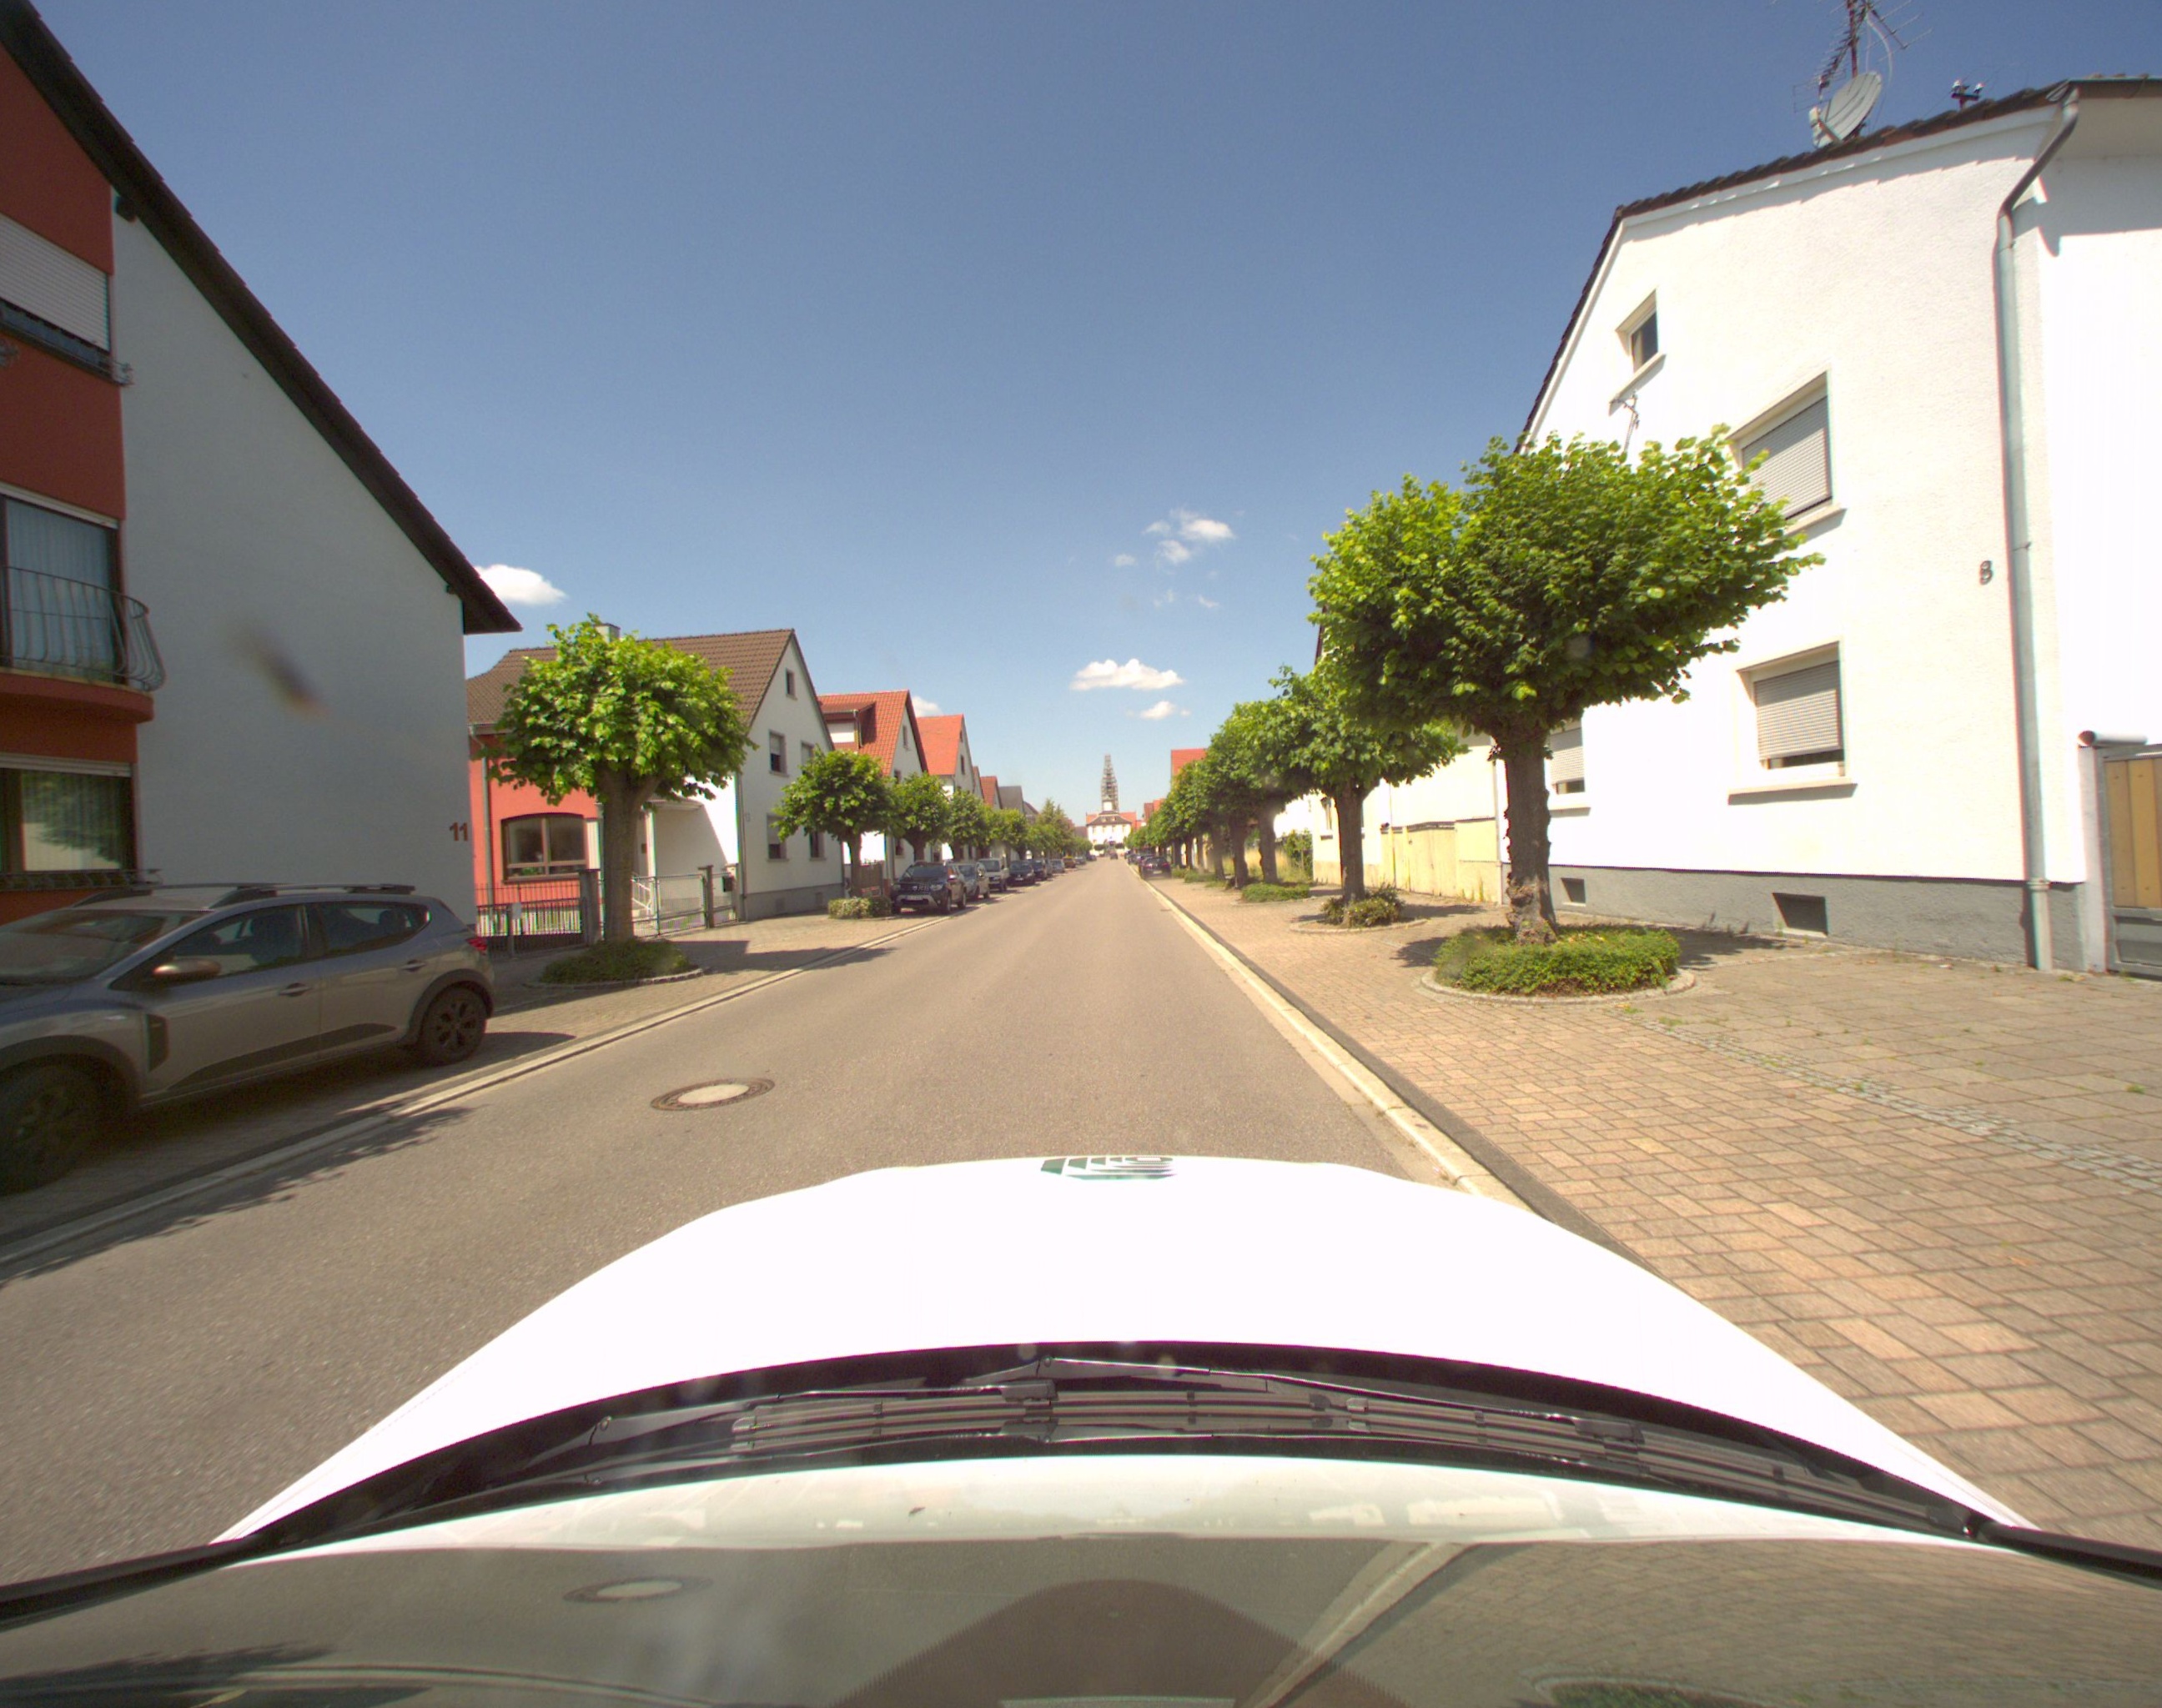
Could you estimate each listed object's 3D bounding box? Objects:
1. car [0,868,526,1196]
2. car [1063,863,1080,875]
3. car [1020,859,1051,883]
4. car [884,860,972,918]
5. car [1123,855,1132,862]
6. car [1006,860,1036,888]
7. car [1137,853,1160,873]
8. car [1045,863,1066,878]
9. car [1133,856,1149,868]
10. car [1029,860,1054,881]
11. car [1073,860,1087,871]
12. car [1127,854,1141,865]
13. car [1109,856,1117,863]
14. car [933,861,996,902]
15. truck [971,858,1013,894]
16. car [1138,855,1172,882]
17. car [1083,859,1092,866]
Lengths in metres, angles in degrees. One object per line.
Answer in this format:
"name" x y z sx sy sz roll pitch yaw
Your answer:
"car" -6.257 0.931 5.590 1.844 1.613 4.139 0 0 4
"car" -1.262 2.113 113.278 1.985 1.611 4.693 -1 0 3
"car" -3.277 1.217 59.579 1.845 1.635 4.059 -1 -1 2
"car" -4.820 1.055 26.200 1.845 1.636 4.302 0 0 2
"car" 10.455 1.024 183.134 1.830 1.555 4.317 -4 0 3
"car" -3.691 1.209 50.635 1.782 1.634 3.995 -1 -1 -3
"car" 5.984 0.805 72.186 1.815 1.586 4.064 -4 0 6
"car" -2.550 1.677 83.039 1.834 1.396 4.408 -2 0 2
"car" 8.293 1.123 112.649 1.831 1.607 4.001 -2 0 1
"car" -3.298 1.332 68.794 1.988 1.652 4.365 -1 0 -1
"car" -0.177 1.919 134.814 1.985 1.611 4.693 -1 0 3
"car" 7.828 0.786 120.328 1.830 1.555 4.315 -4 0 2
"car" 7.427 1.238 188.469 1.723 1.547 3.457 -1 -1 2
"car" -4.782 1.107 34.053 1.845 1.613 4.373 0 -1 2
"truck" -4.549 1.105 42.200 1.570 1.765 4.194 0 -1 2
"car" 4.574 0.877 50.839 1.817 1.432 4.059 -5 0 2
"car" 1.517 1.850 177.735 1.750 1.555 4.023 -3 0 3
